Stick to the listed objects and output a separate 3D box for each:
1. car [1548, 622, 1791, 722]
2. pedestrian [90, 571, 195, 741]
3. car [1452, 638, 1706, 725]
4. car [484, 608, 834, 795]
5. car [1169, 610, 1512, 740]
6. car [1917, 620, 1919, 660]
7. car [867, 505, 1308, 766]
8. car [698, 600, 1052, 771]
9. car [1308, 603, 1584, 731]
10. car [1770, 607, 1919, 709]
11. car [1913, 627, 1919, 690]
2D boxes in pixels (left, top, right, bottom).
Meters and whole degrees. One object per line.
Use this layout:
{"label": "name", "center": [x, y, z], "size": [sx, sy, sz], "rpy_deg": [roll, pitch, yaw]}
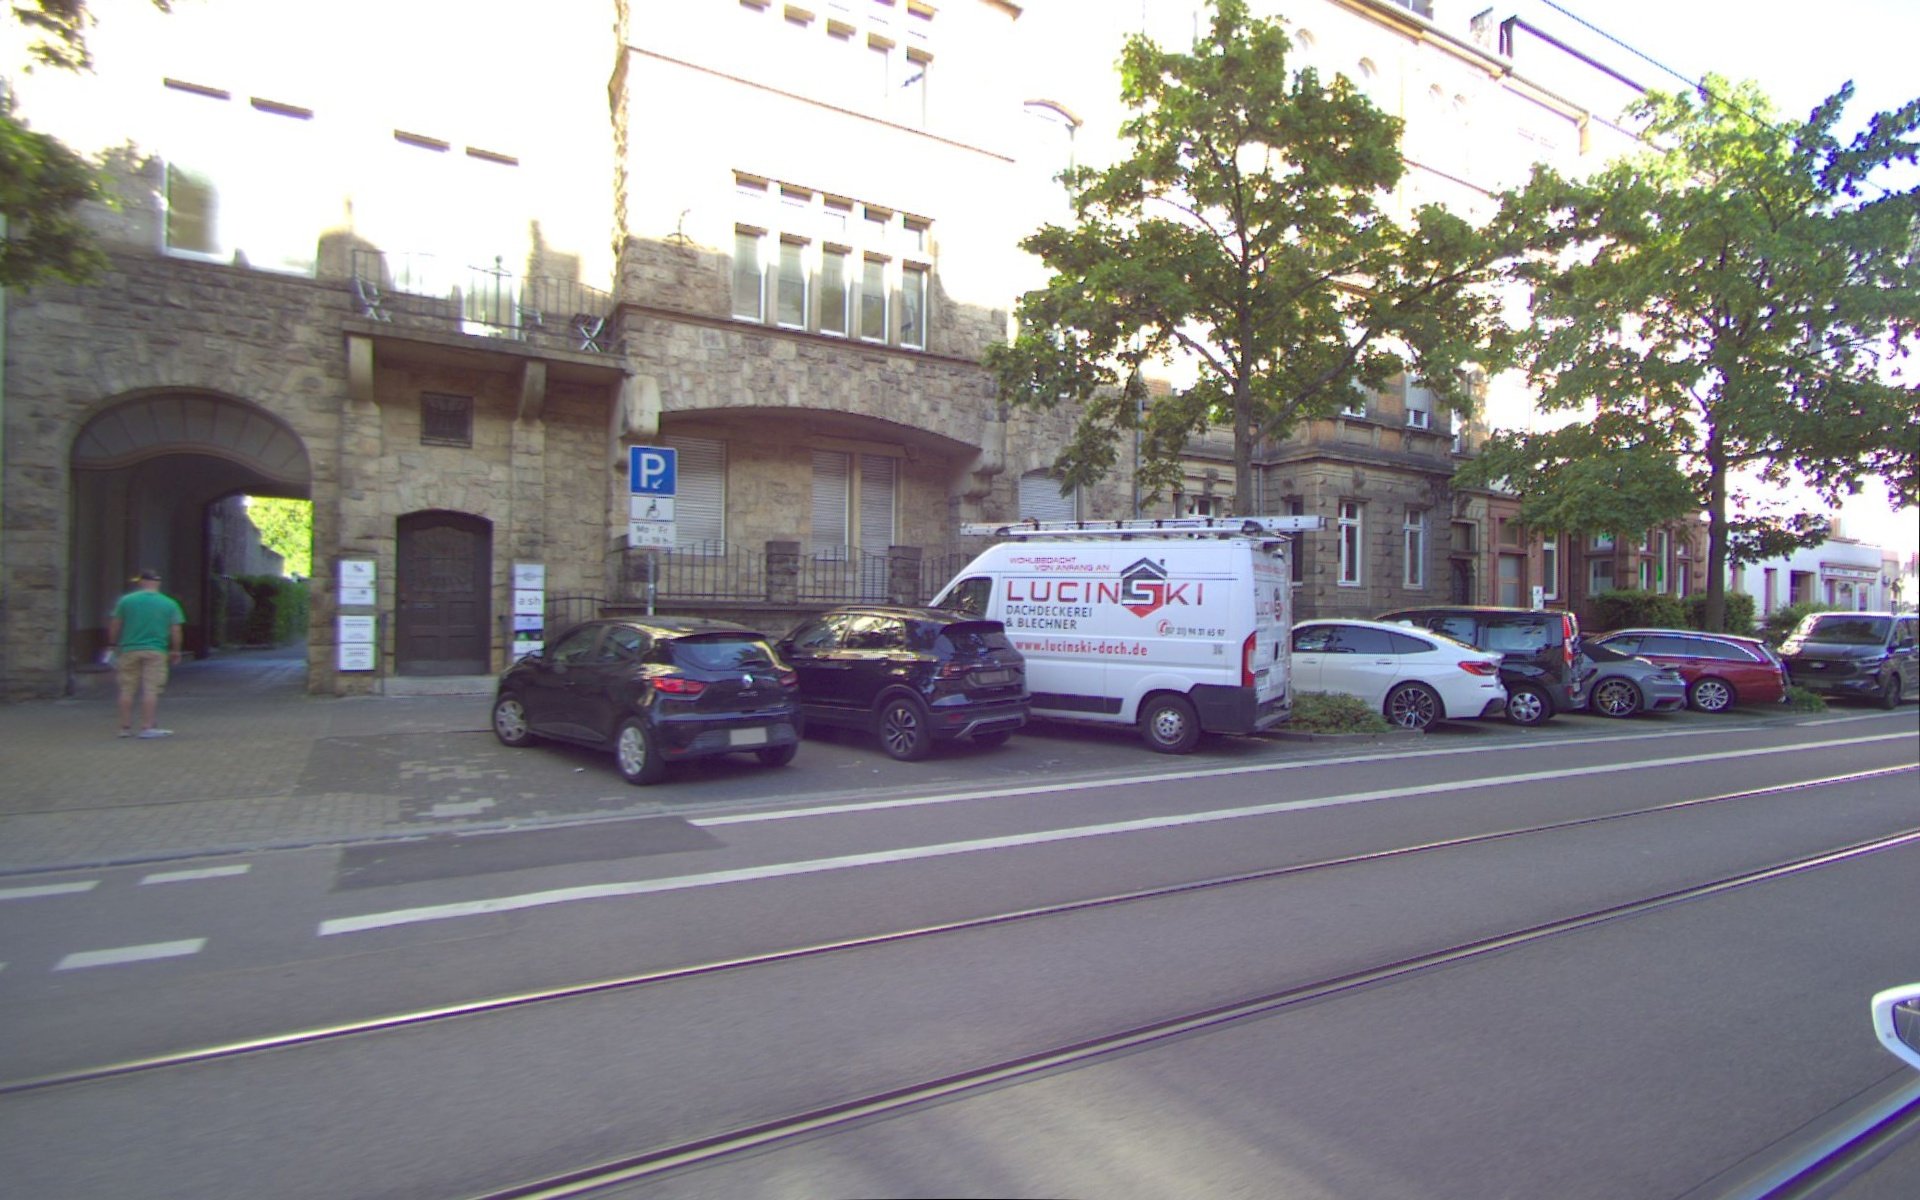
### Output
{"label": "car", "center": [13.620, 1.311, 19.390], "size": [3.678, 1.644, 1.781], "rpy_deg": [1, -1, 39]}
{"label": "pedestrian", "center": [-8.712, 0.582, 10.735], "size": [0.753, 1.749, 0.575], "rpy_deg": [2, 0, -31]}
{"label": "car", "center": [11.052, 1.394, 18.100], "size": [3.746, 1.282, 1.511], "rpy_deg": [1, -1, 35]}
{"label": "car", "center": [-3.266, 0.887, 10.481], "size": [3.945, 1.509, 1.795], "rpy_deg": [1, -1, 44]}
{"label": "car", "center": [5.751, 1.038, 15.397], "size": [4.684, 1.639, 1.710], "rpy_deg": [1, 0, 28]}
{"label": "car", "center": [38.181, 1.566, 38.220], "size": [3.485, 1.488, 1.626], "rpy_deg": [2, -1, -30]}
{"label": "car", "center": [1.506, 0.352, 12.856], "size": [5.293, 2.785, 1.802], "rpy_deg": [1, 0, 31]}
{"label": "car", "center": [-1.073, 0.863, 11.762], "size": [3.933, 1.639, 1.707], "rpy_deg": [1, 0, 35]}
{"label": "car", "center": [8.075, 1.026, 16.815], "size": [3.933, 1.841, 1.707], "rpy_deg": [1, 0, 35]}
{"label": "car", "center": [19.854, 1.216, 22.063], "size": [5.185, 1.999, 1.737], "rpy_deg": [2, -1, -34]}
{"label": "car", "center": [27.431, 1.603, 26.963], "size": [4.364, 1.639, 1.737], "rpy_deg": [2, -1, -34]}
